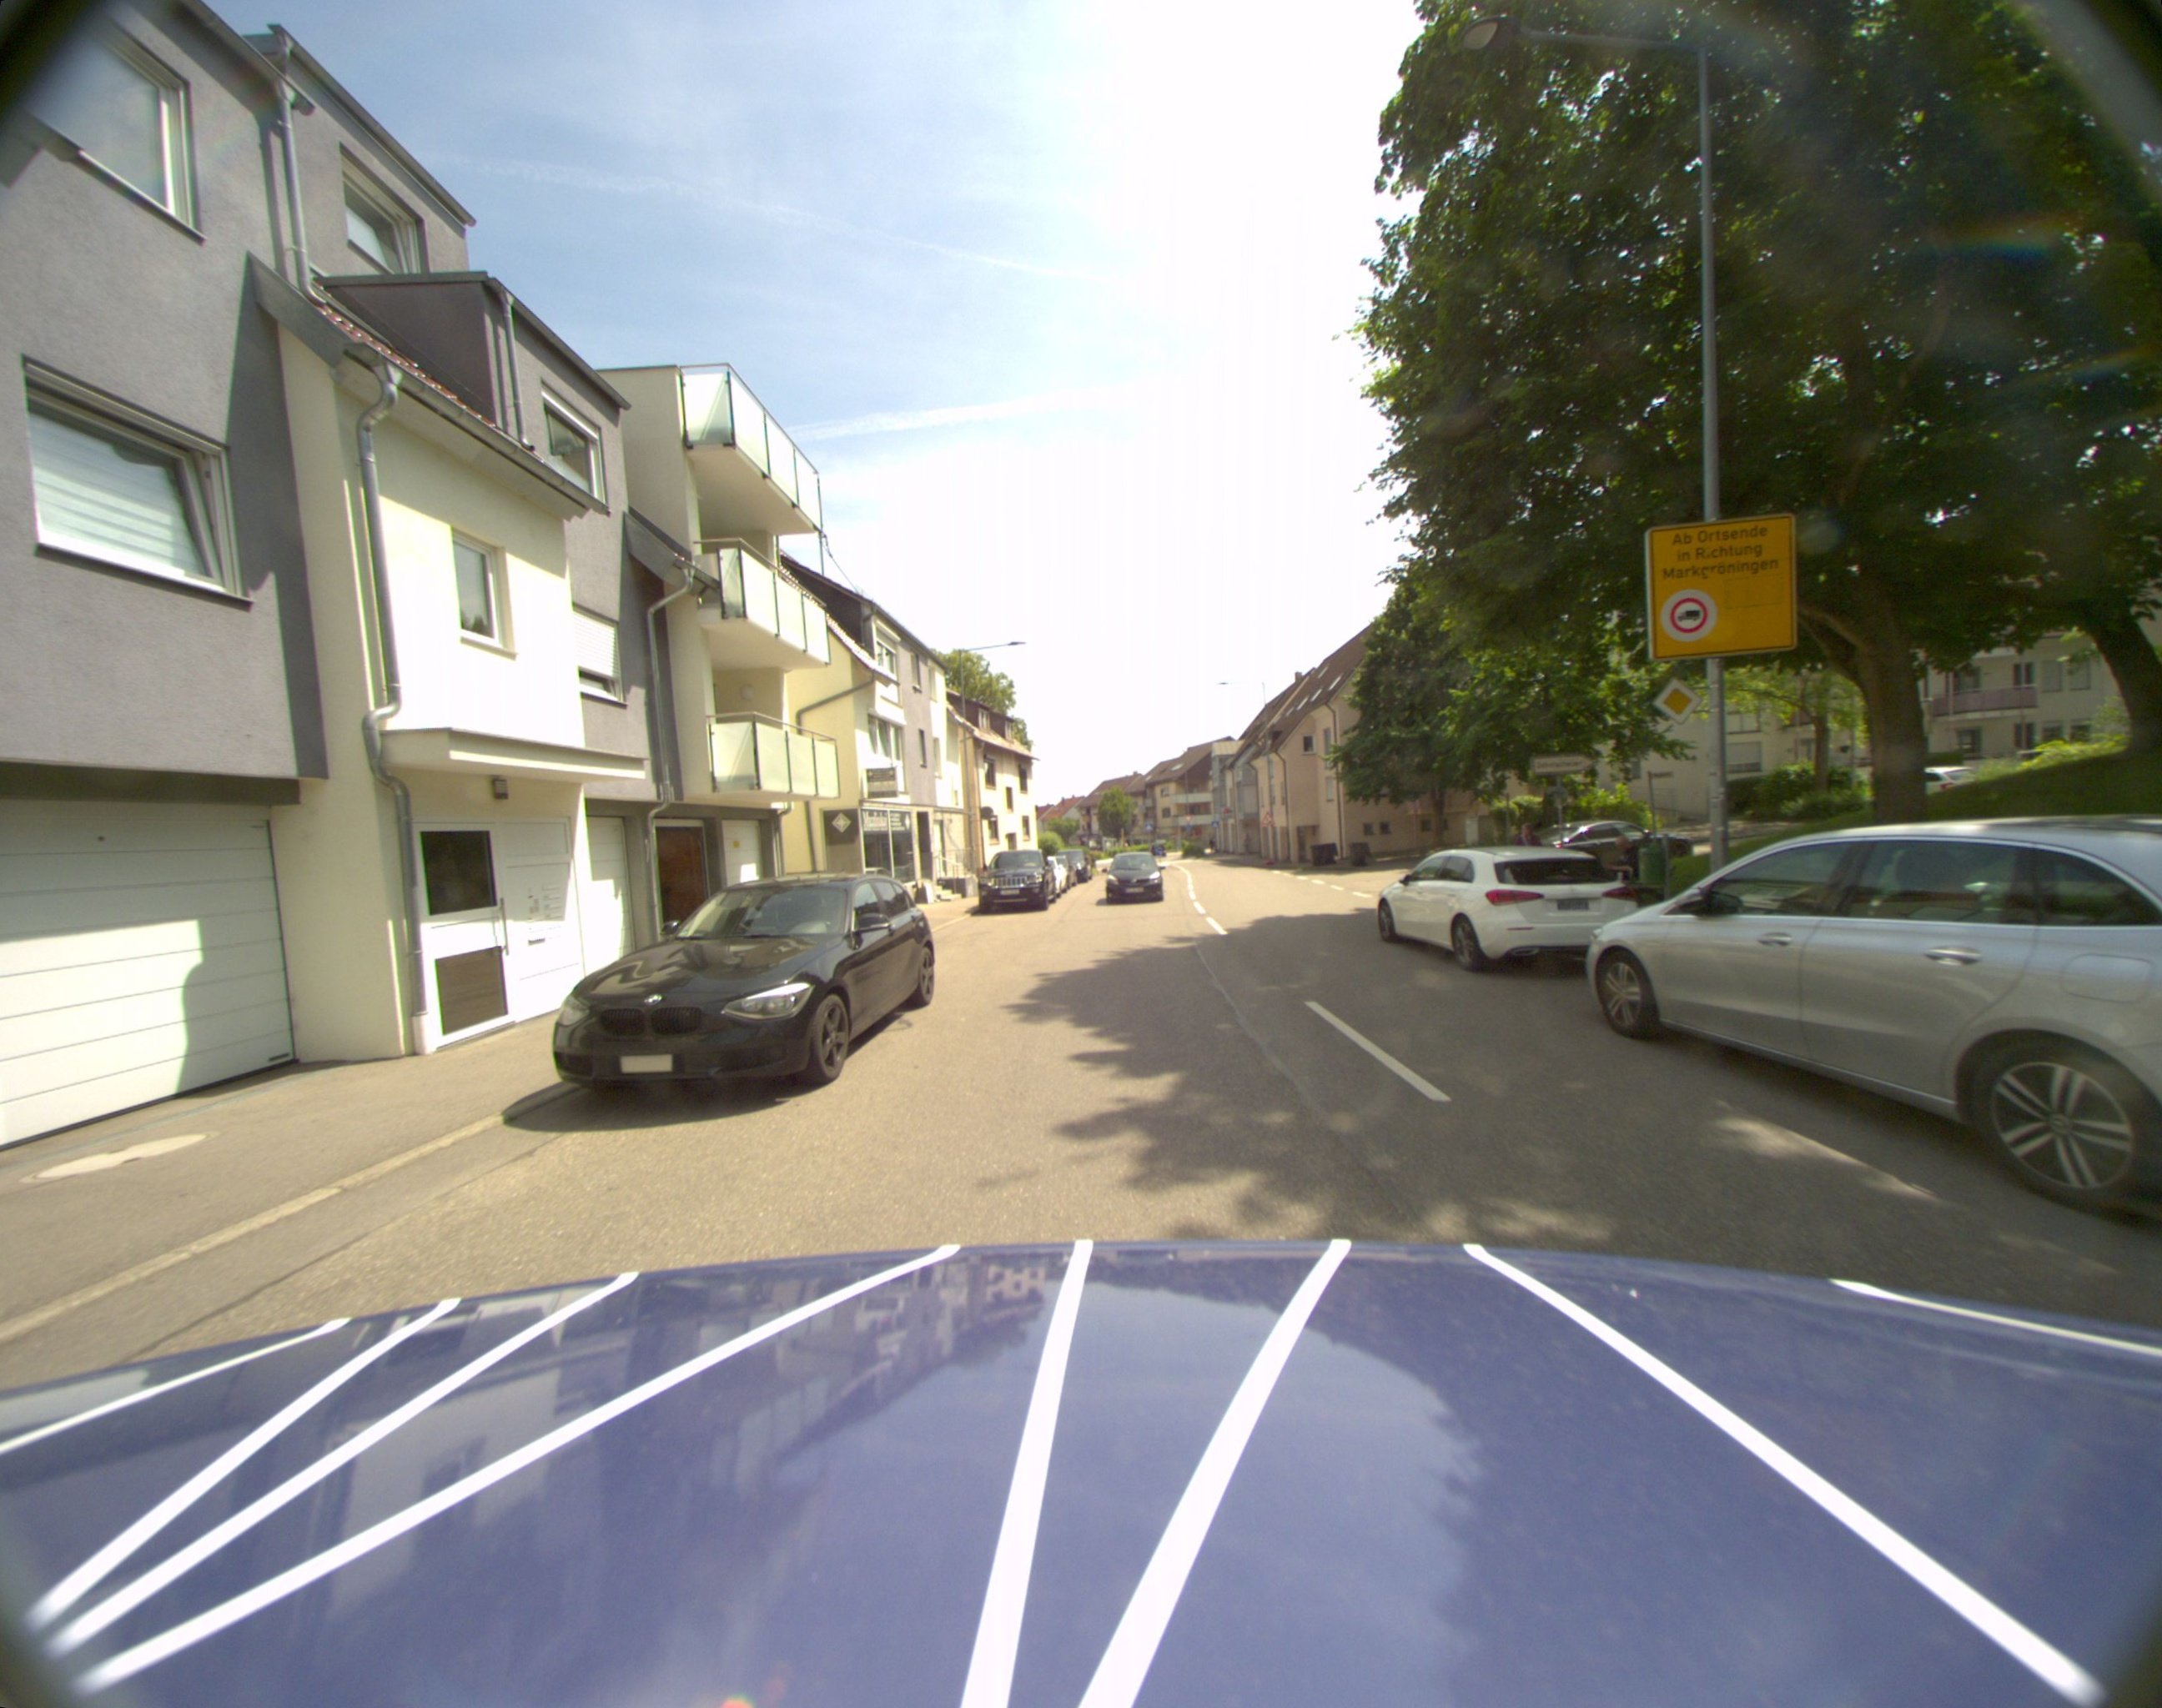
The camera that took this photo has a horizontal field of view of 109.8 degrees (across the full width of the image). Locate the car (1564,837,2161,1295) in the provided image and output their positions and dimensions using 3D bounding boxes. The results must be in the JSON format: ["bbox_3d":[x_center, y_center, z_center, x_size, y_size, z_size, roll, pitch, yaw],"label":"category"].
[{"bbox_3d":[4.701,0.700,4.102,1.776,1.518,4.223,-2,1,5],"label":"car"}]

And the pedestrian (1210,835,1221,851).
[{"bbox_3d":[12.869,-1.010,72.692,0.802,1.470,0.957,-5,2,-3],"label":"pedestrian"}]

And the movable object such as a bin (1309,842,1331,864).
[{"bbox_3d":[11.417,-0.057,36.295,0.853,0.994,0.694,-4,1,7],"label":"movable object such as a bin"}]

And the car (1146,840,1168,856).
[{"bbox_3d":[8.085,-0.639,81.212,1.756,1.575,3.943,-5,1,-2],"label":"car"}]

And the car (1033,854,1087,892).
[{"bbox_3d":[-0.867,0.793,33.539,1.792,1.412,4.359,-3,1,5],"label":"car"}]

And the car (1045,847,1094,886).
[{"bbox_3d":[-0.509,0.573,38.506,1.847,1.660,4.656,-5,1,5],"label":"car"}]

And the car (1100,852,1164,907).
[{"bbox_3d":[1.586,0.710,23.628,1.725,1.448,4.430,-3,0,4],"label":"car"}]

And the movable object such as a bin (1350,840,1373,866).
[{"bbox_3d":[12.404,-0.054,33.612,0.773,0.995,0.609,-7,6,8],"label":"movable object such as a bin"}]

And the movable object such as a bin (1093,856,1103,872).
[{"bbox_3d":[1.103,0.635,49.949,0.501,0.988,0.503,-5,1,-3],"label":"movable object such as a bin"}]

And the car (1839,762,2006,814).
[{"bbox_3d":[32.279,-2.487,29.365,1.998,1.558,4.148,-4,0,5],"label":"car"}]

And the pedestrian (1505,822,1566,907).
[{"bbox_3d":[9.064,0.197,15.170,0.733,1.607,0.628,-5,2,-15],"label":"pedestrian"}]

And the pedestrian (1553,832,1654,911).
[{"bbox_3d":[9.196,0.291,13.415,1.239,1.262,0.646,-5,2,8],"label":"pedestrian"}]

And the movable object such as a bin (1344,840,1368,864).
[{"bbox_3d":[12.440,-0.096,34.364,0.773,0.995,0.609,-7,3,7],"label":"movable object such as a bin"}]

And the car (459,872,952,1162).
[{"bbox_3d":[-2.514,0.993,6.475,1.801,1.416,4.290,-3,1,3],"label":"car"}]

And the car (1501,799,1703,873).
[{"bbox_3d":[14.811,-0.510,21.668,4.792,1.471,1.997,-7,2,-14],"label":"car"}]

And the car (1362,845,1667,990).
[{"bbox_3d":[5.279,0.640,10.034,1.759,1.458,4.363,-2,1,4],"label":"car"}]

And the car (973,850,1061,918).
[{"bbox_3d":[-1.787,0.786,22.792,1.958,1.706,4.717,-3,1,2],"label":"car"}]

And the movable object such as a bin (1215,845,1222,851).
[{"bbox_3d":[13.096,-0.584,72.321,0.459,0.578,0.468,-5,1,-4],"label":"movable object such as a bin"}]

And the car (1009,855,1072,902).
[{"bbox_3d":[-1.417,0.840,28.381,1.793,1.447,4.717,-3,1,2],"label":"car"}]

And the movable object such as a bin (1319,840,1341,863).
[{"bbox_3d":[11.949,-0.127,36.475,0.802,0.994,0.805,-6,1,7],"label":"movable object such as a bin"}]
